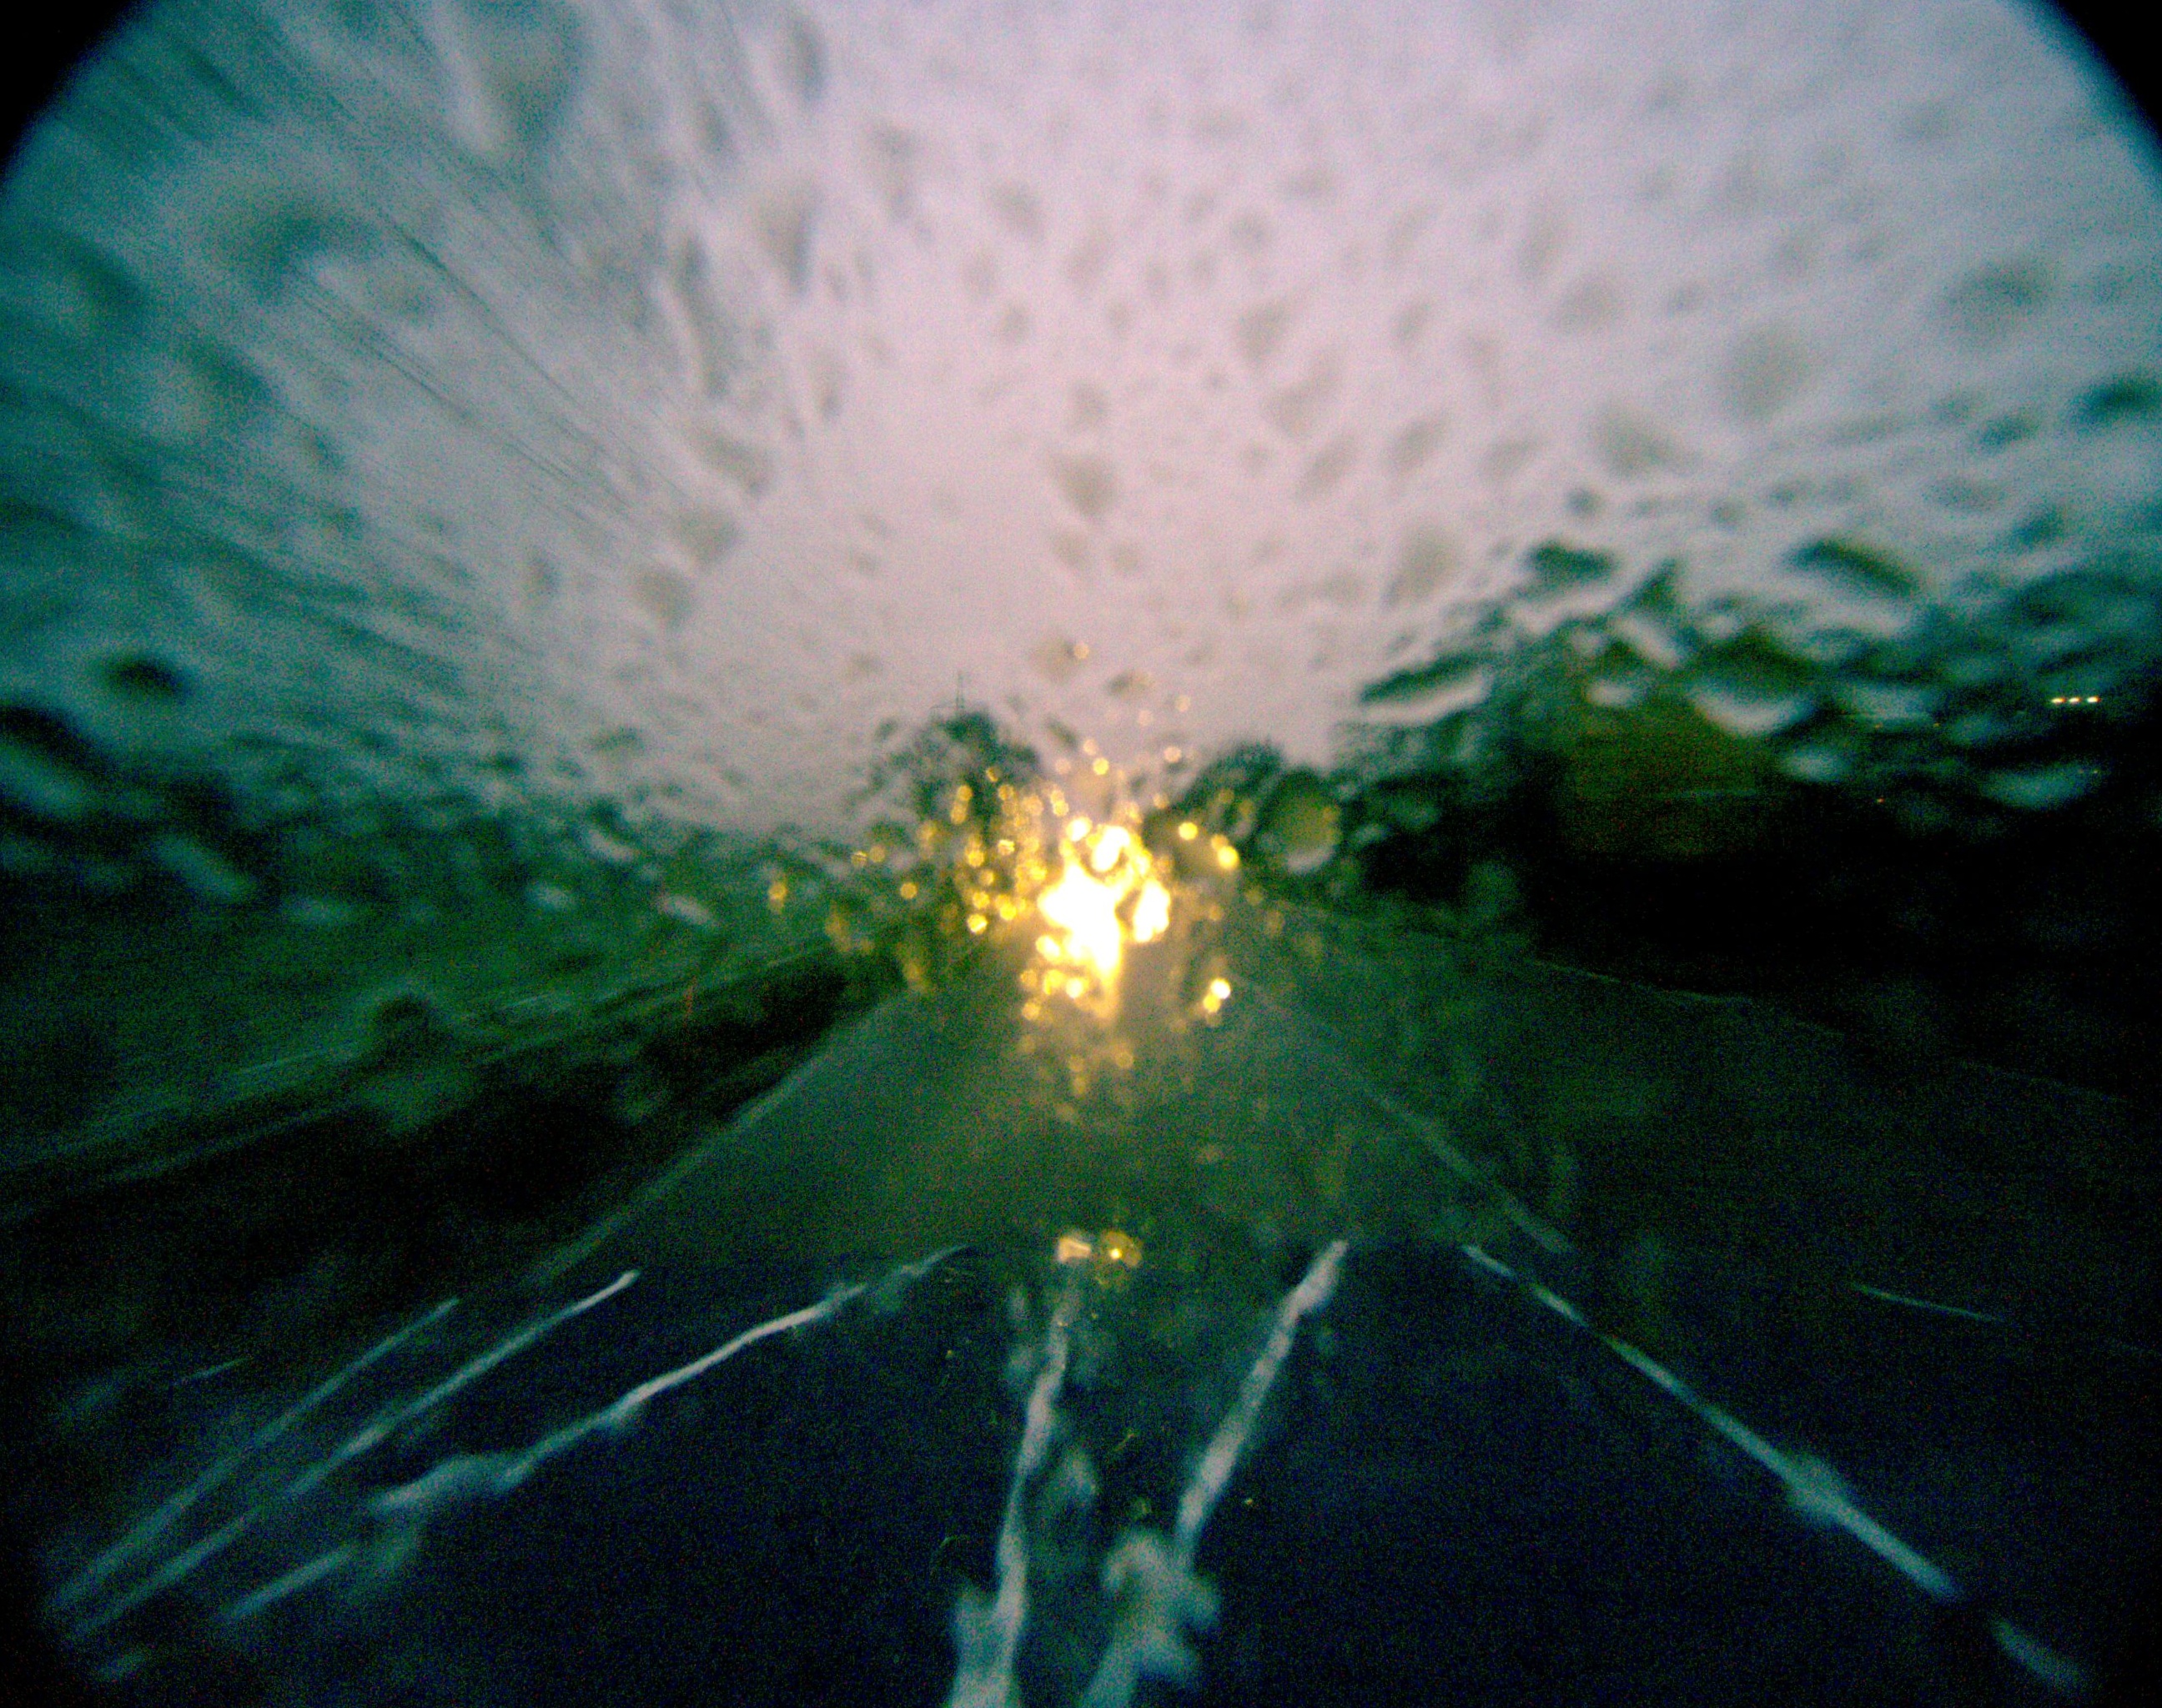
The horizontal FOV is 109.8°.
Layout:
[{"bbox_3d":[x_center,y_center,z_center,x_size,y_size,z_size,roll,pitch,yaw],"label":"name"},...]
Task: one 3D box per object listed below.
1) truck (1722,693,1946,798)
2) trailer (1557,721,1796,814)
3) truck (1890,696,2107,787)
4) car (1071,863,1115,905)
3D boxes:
[{"bbox_3d":[26.381,-3.660,27.025,2.456,2.870,5.584,-1,0,1],"label":"truck"},{"bbox_3d":[26.516,-3.638,34.949,2.442,2.874,11.086,-1,0,1],"label":"trailer"},{"bbox_3d":[30.804,-3.692,25.747,2.536,2.421,4.000,-1,0,1],"label":"truck"},{"bbox_3d":[0.602,1.367,36.161,1.910,1.653,4.000,-3,1,2],"label":"car"}]
